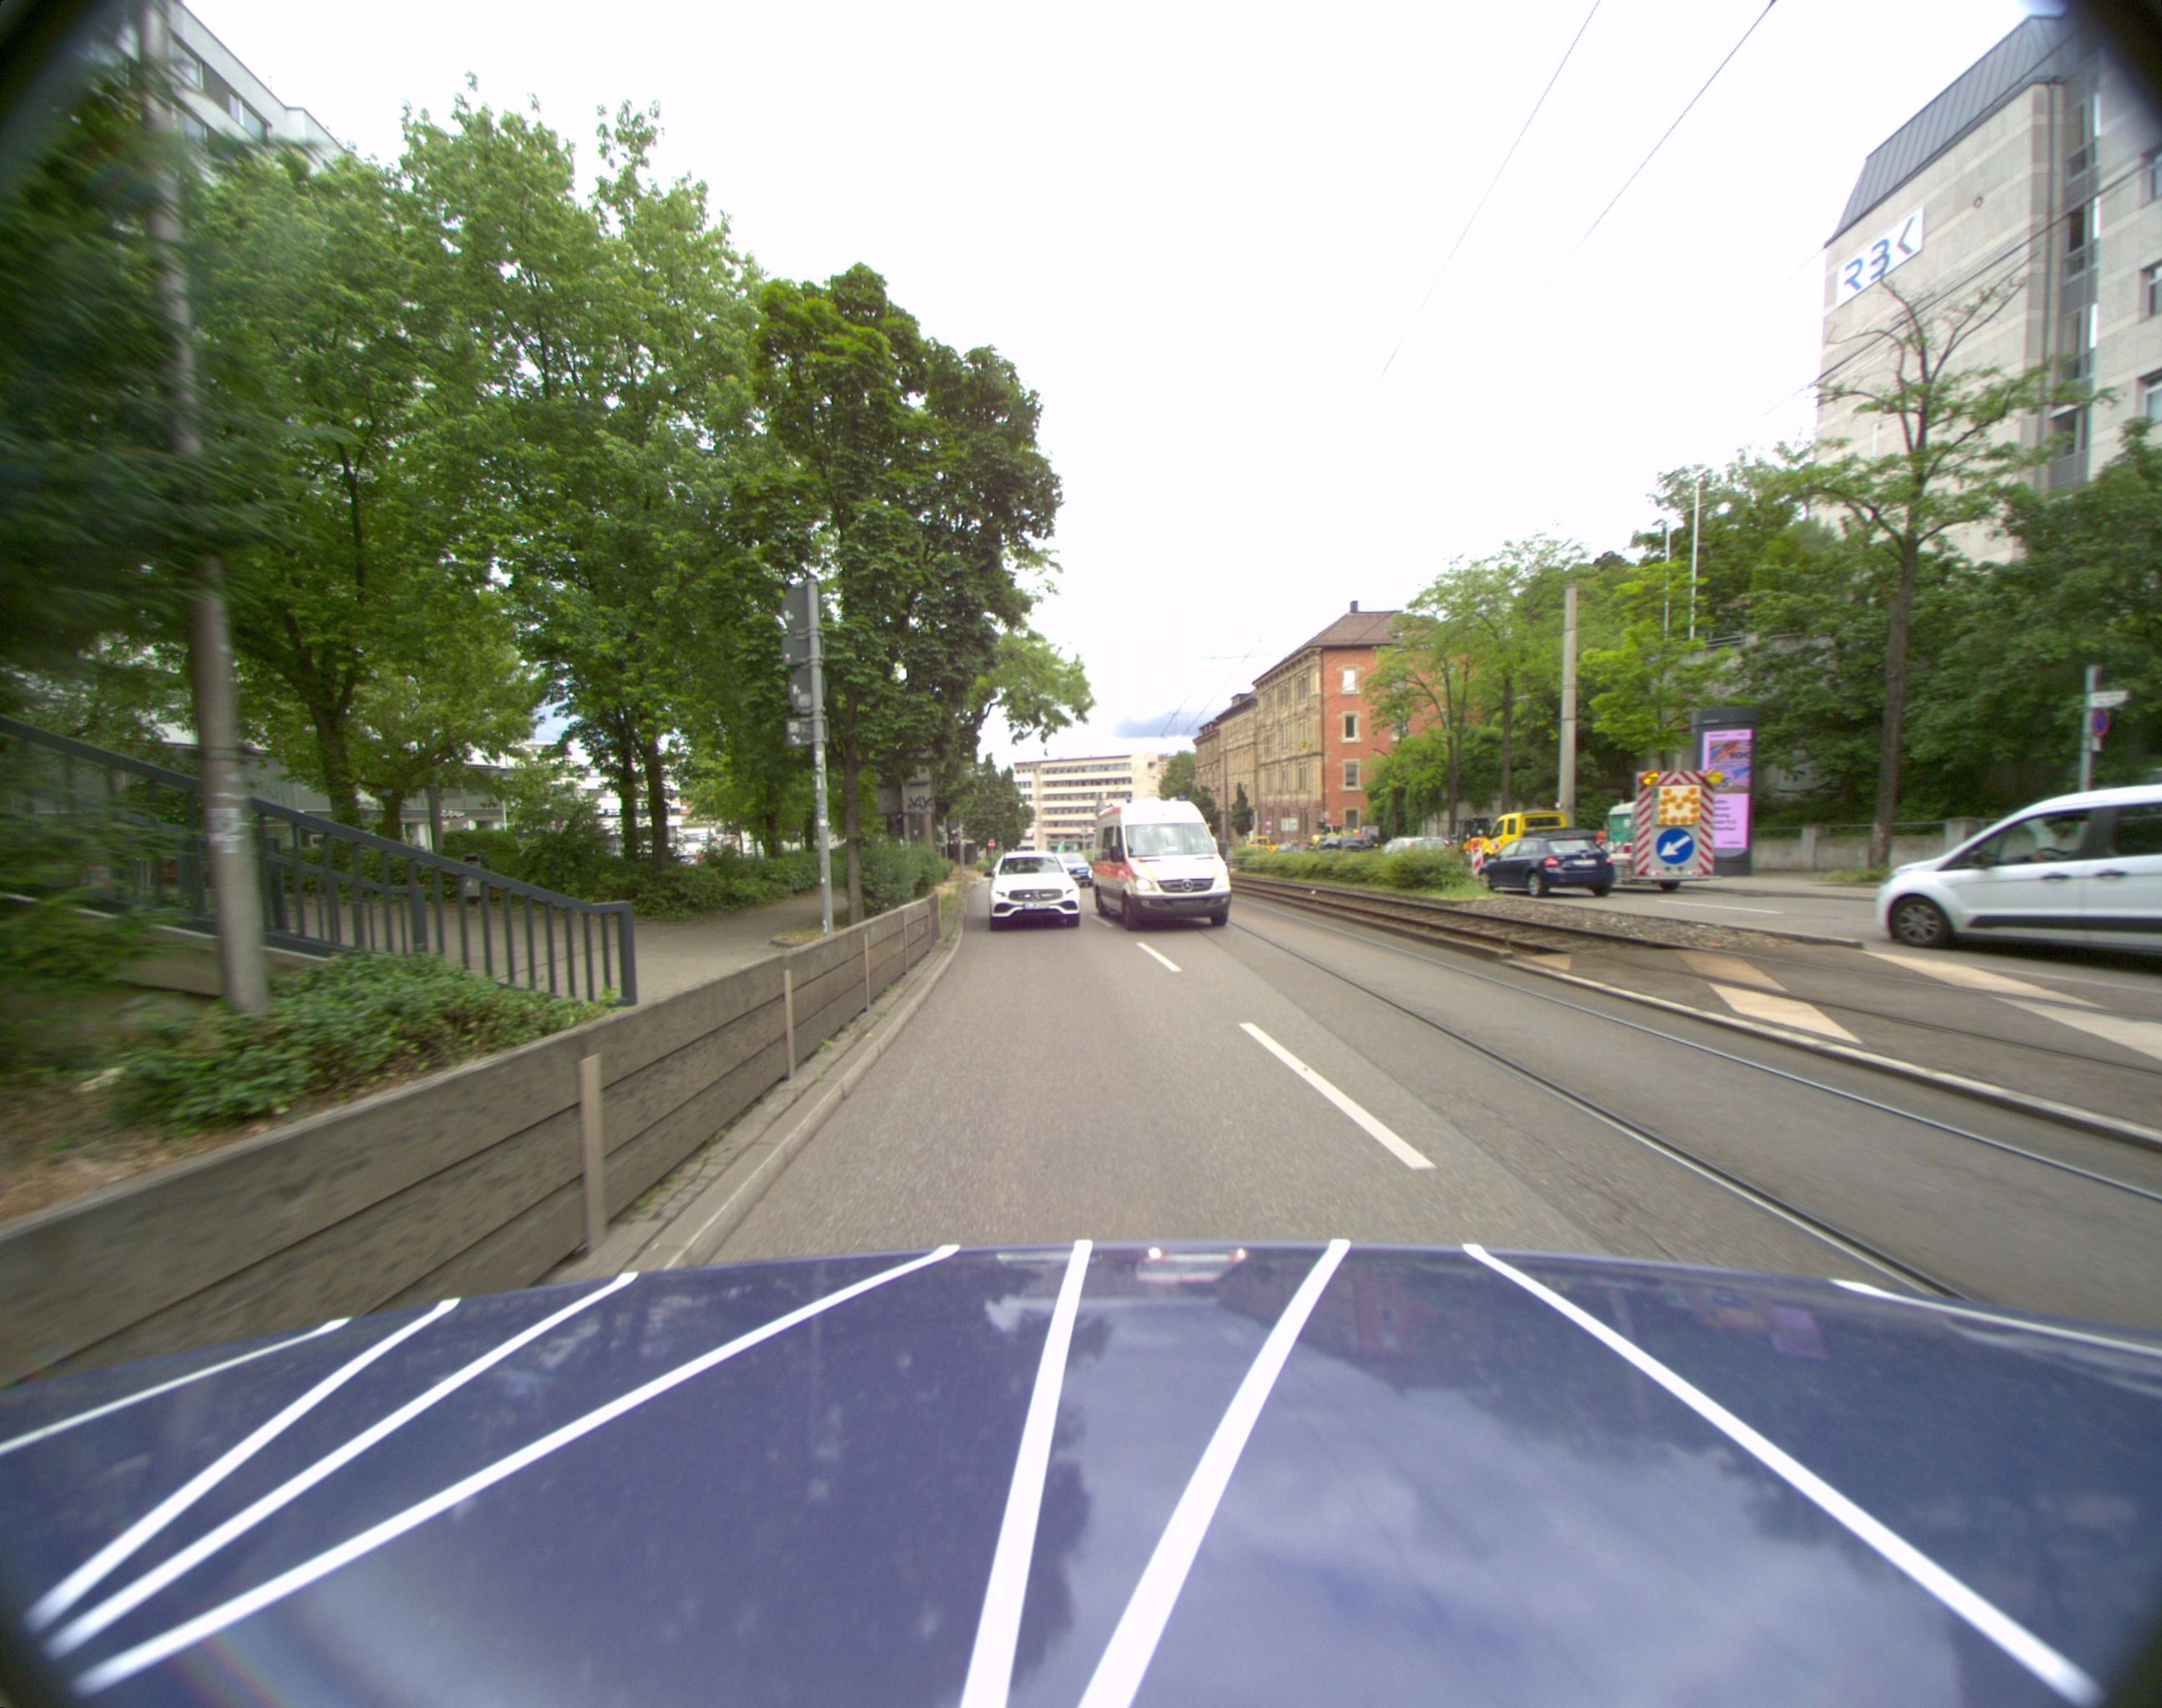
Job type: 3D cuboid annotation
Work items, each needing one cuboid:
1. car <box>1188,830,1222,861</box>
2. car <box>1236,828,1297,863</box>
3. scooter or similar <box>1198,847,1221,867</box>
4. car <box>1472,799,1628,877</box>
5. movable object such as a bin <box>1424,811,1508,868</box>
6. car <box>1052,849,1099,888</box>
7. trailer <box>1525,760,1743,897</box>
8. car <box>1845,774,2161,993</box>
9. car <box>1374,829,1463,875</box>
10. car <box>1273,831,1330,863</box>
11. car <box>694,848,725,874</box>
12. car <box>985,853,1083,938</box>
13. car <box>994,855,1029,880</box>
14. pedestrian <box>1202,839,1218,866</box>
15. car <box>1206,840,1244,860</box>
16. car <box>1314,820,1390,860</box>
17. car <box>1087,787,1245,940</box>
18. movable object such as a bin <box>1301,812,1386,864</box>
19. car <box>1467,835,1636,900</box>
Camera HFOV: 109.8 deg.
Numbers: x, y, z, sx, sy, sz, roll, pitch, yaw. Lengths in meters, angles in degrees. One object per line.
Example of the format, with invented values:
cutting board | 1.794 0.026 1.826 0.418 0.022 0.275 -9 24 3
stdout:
car | 12.016 -0.814 73.858 2.215 2.806 4.782 -1 1 -2
car | 14.300 -0.651 59.081 2.448 2.422 6.750 -2 1 -5
scooter or similar | 8.685 0.201 51.228 1.500 1.288 0.532 -2 1 -32
car | 17.347 -0.555 28.624 2.162 2.578 6.336 -1 0 2
movable object such as a bin | 18.299 -0.642 36.304 1.938 2.453 4.098 -4 0 2
car | -0.232 0.629 35.349 1.931 1.563 4.180 -4 0 0
trailer | 14.093 -0.608 19.929 2.023 2.956 5.591 -3 1 6
car | 10.553 0.230 7.121 1.952 1.935 5.003 -2 0 4
car | 11.552 -0.069 26.239 1.662 1.435 3.740 -1 0 5
car | 12.171 -0.391 42.333 1.998 1.595 4.620 -1 0 3
car | -33.812 0.649 69.096 2.130 2.200 4.882 -2 0 -30
car | -1.160 0.825 17.346 1.895 1.610 4.476 -2 0 -6
car | -4.330 0.847 47.774 1.822 1.441 3.852 -1 0 0
pedestrian | 8.744 -0.101 51.586 0.742 1.807 0.791 -1 0 -24
car | 10.981 -0.318 58.180 1.784 1.453 3.998 -2 0 -5
car | 11.962 -0.604 33.849 1.998 1.595 4.610 -1 0 4
car | 1.570 0.162 16.619 2.040 2.684 5.850 -2 0 -7
movable object such as a bin | 19.036 -1.119 55.572 2.756 3.527 6.542 -2 0 -12
car | 11.543 0.288 19.000 1.770 1.399 4.082 -1 0 2
